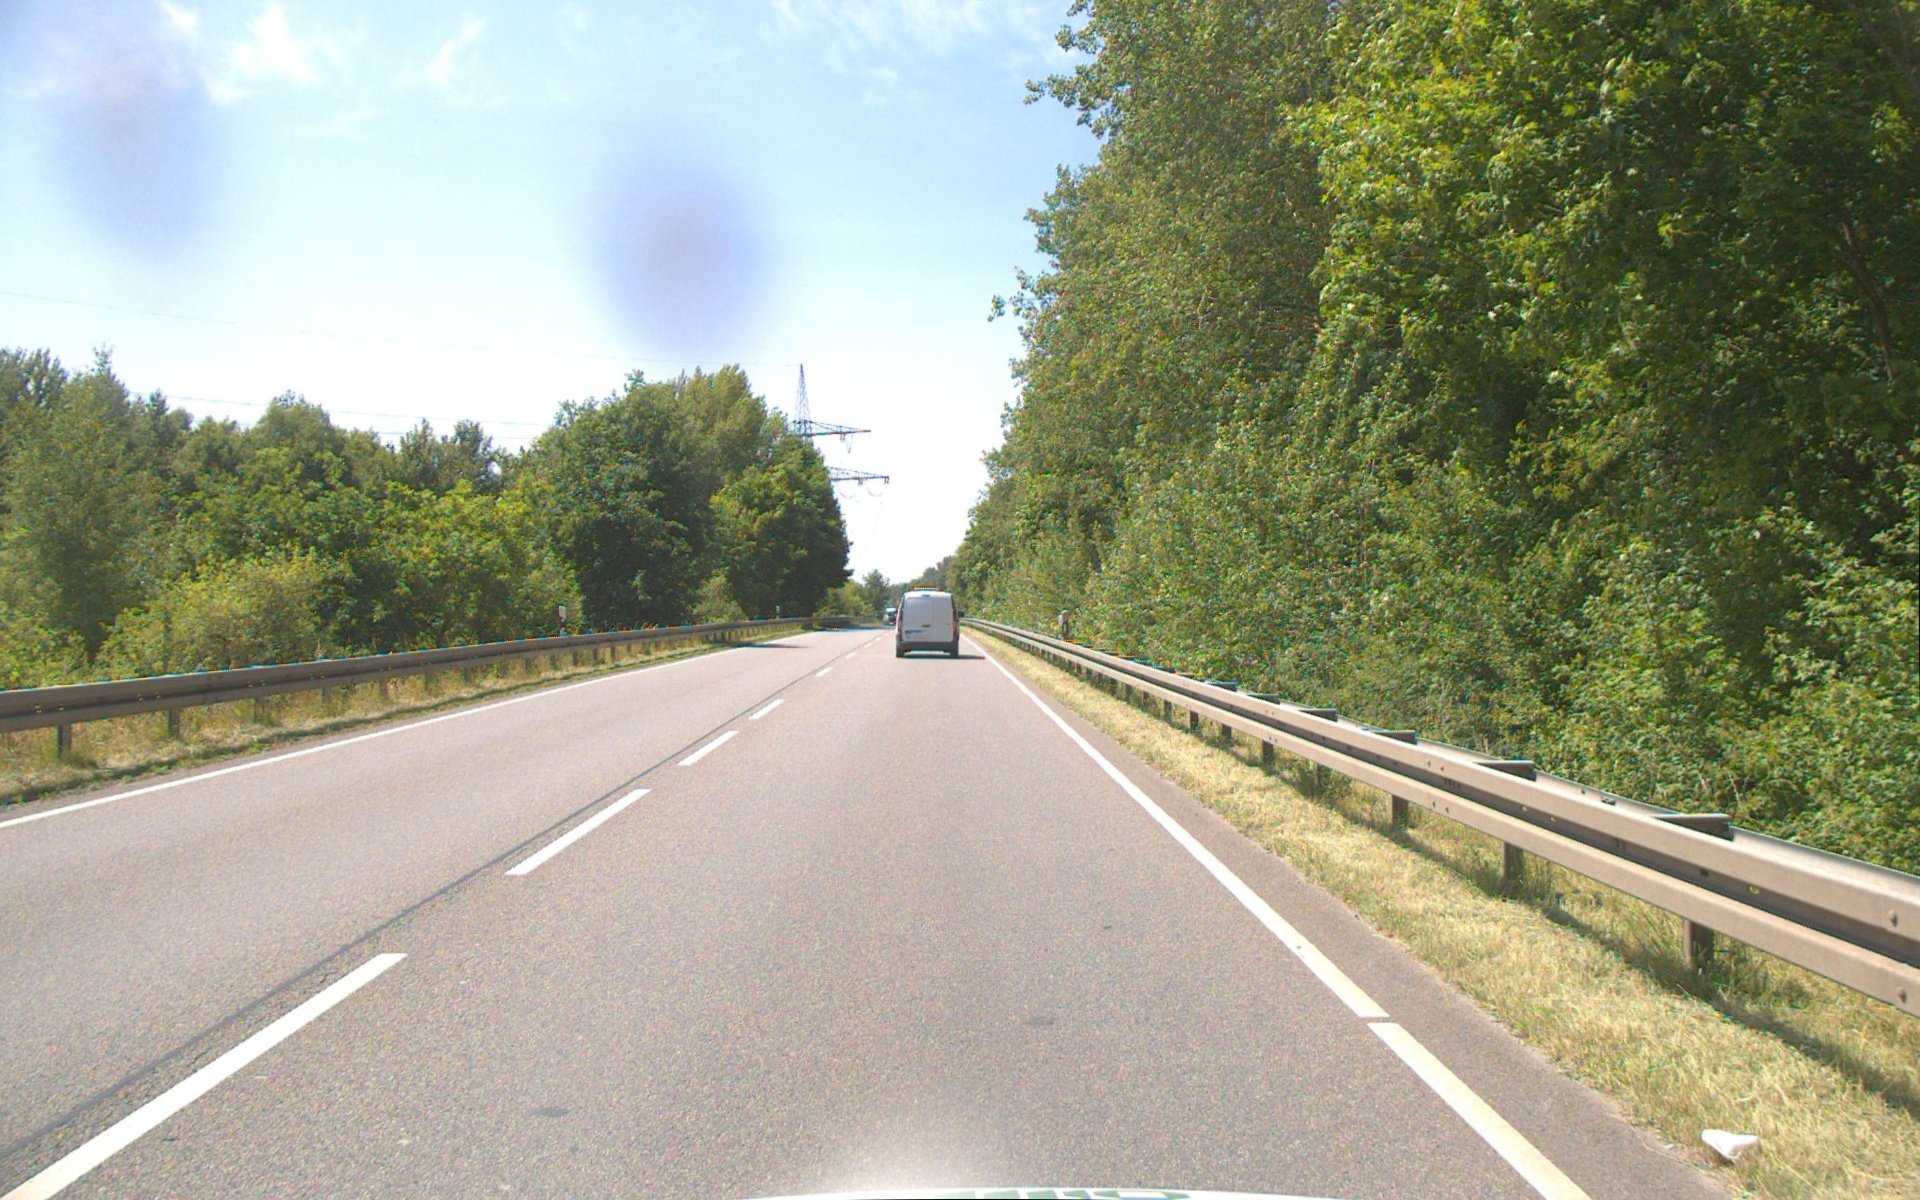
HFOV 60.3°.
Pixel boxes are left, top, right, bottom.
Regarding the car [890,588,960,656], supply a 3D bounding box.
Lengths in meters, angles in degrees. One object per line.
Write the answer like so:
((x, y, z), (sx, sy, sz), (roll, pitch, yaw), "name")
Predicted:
((-0.994, 0.580, 46.101), (1.837, 1.772, 3.999), (1, 0, -2), "car")

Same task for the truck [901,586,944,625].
((-3.223, 0.475, 145.044), (3.229, 3.227, 14.404), (1, 0, 1), "truck")
